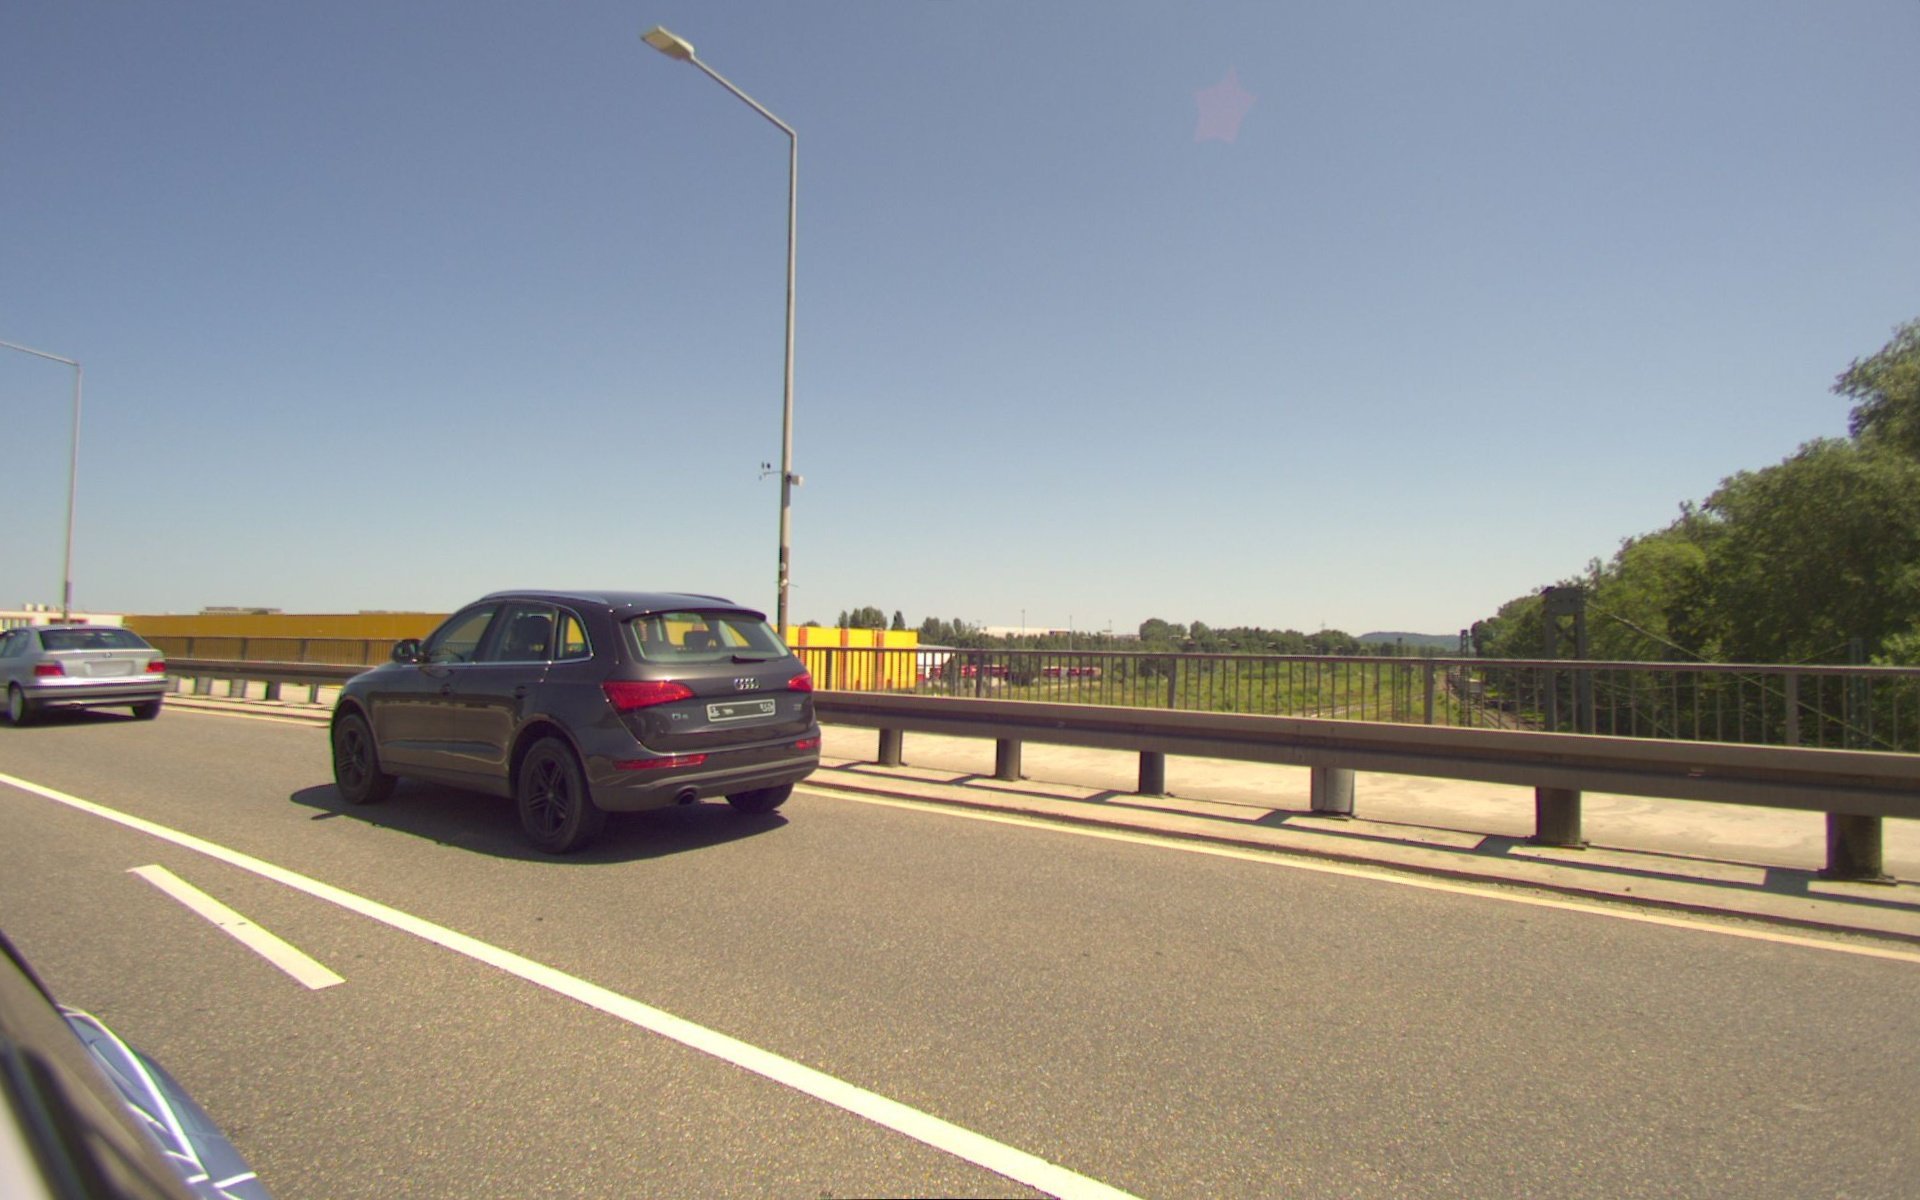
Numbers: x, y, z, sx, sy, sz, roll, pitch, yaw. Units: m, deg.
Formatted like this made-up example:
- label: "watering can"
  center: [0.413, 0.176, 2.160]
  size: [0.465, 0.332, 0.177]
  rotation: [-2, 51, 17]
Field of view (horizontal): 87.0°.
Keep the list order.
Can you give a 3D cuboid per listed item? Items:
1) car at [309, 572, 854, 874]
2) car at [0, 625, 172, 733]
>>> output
- label: "car"
  center: [-2.977, 0.718, 7.559]
  size: [4.293, 1.653, 1.784]
  rotation: [-1, -2, 37]
- label: "car"
  center: [-13.467, 1.070, 14.929]
  size: [3.988, 1.386, 1.683]
  rotation: [-1, -2, 33]
